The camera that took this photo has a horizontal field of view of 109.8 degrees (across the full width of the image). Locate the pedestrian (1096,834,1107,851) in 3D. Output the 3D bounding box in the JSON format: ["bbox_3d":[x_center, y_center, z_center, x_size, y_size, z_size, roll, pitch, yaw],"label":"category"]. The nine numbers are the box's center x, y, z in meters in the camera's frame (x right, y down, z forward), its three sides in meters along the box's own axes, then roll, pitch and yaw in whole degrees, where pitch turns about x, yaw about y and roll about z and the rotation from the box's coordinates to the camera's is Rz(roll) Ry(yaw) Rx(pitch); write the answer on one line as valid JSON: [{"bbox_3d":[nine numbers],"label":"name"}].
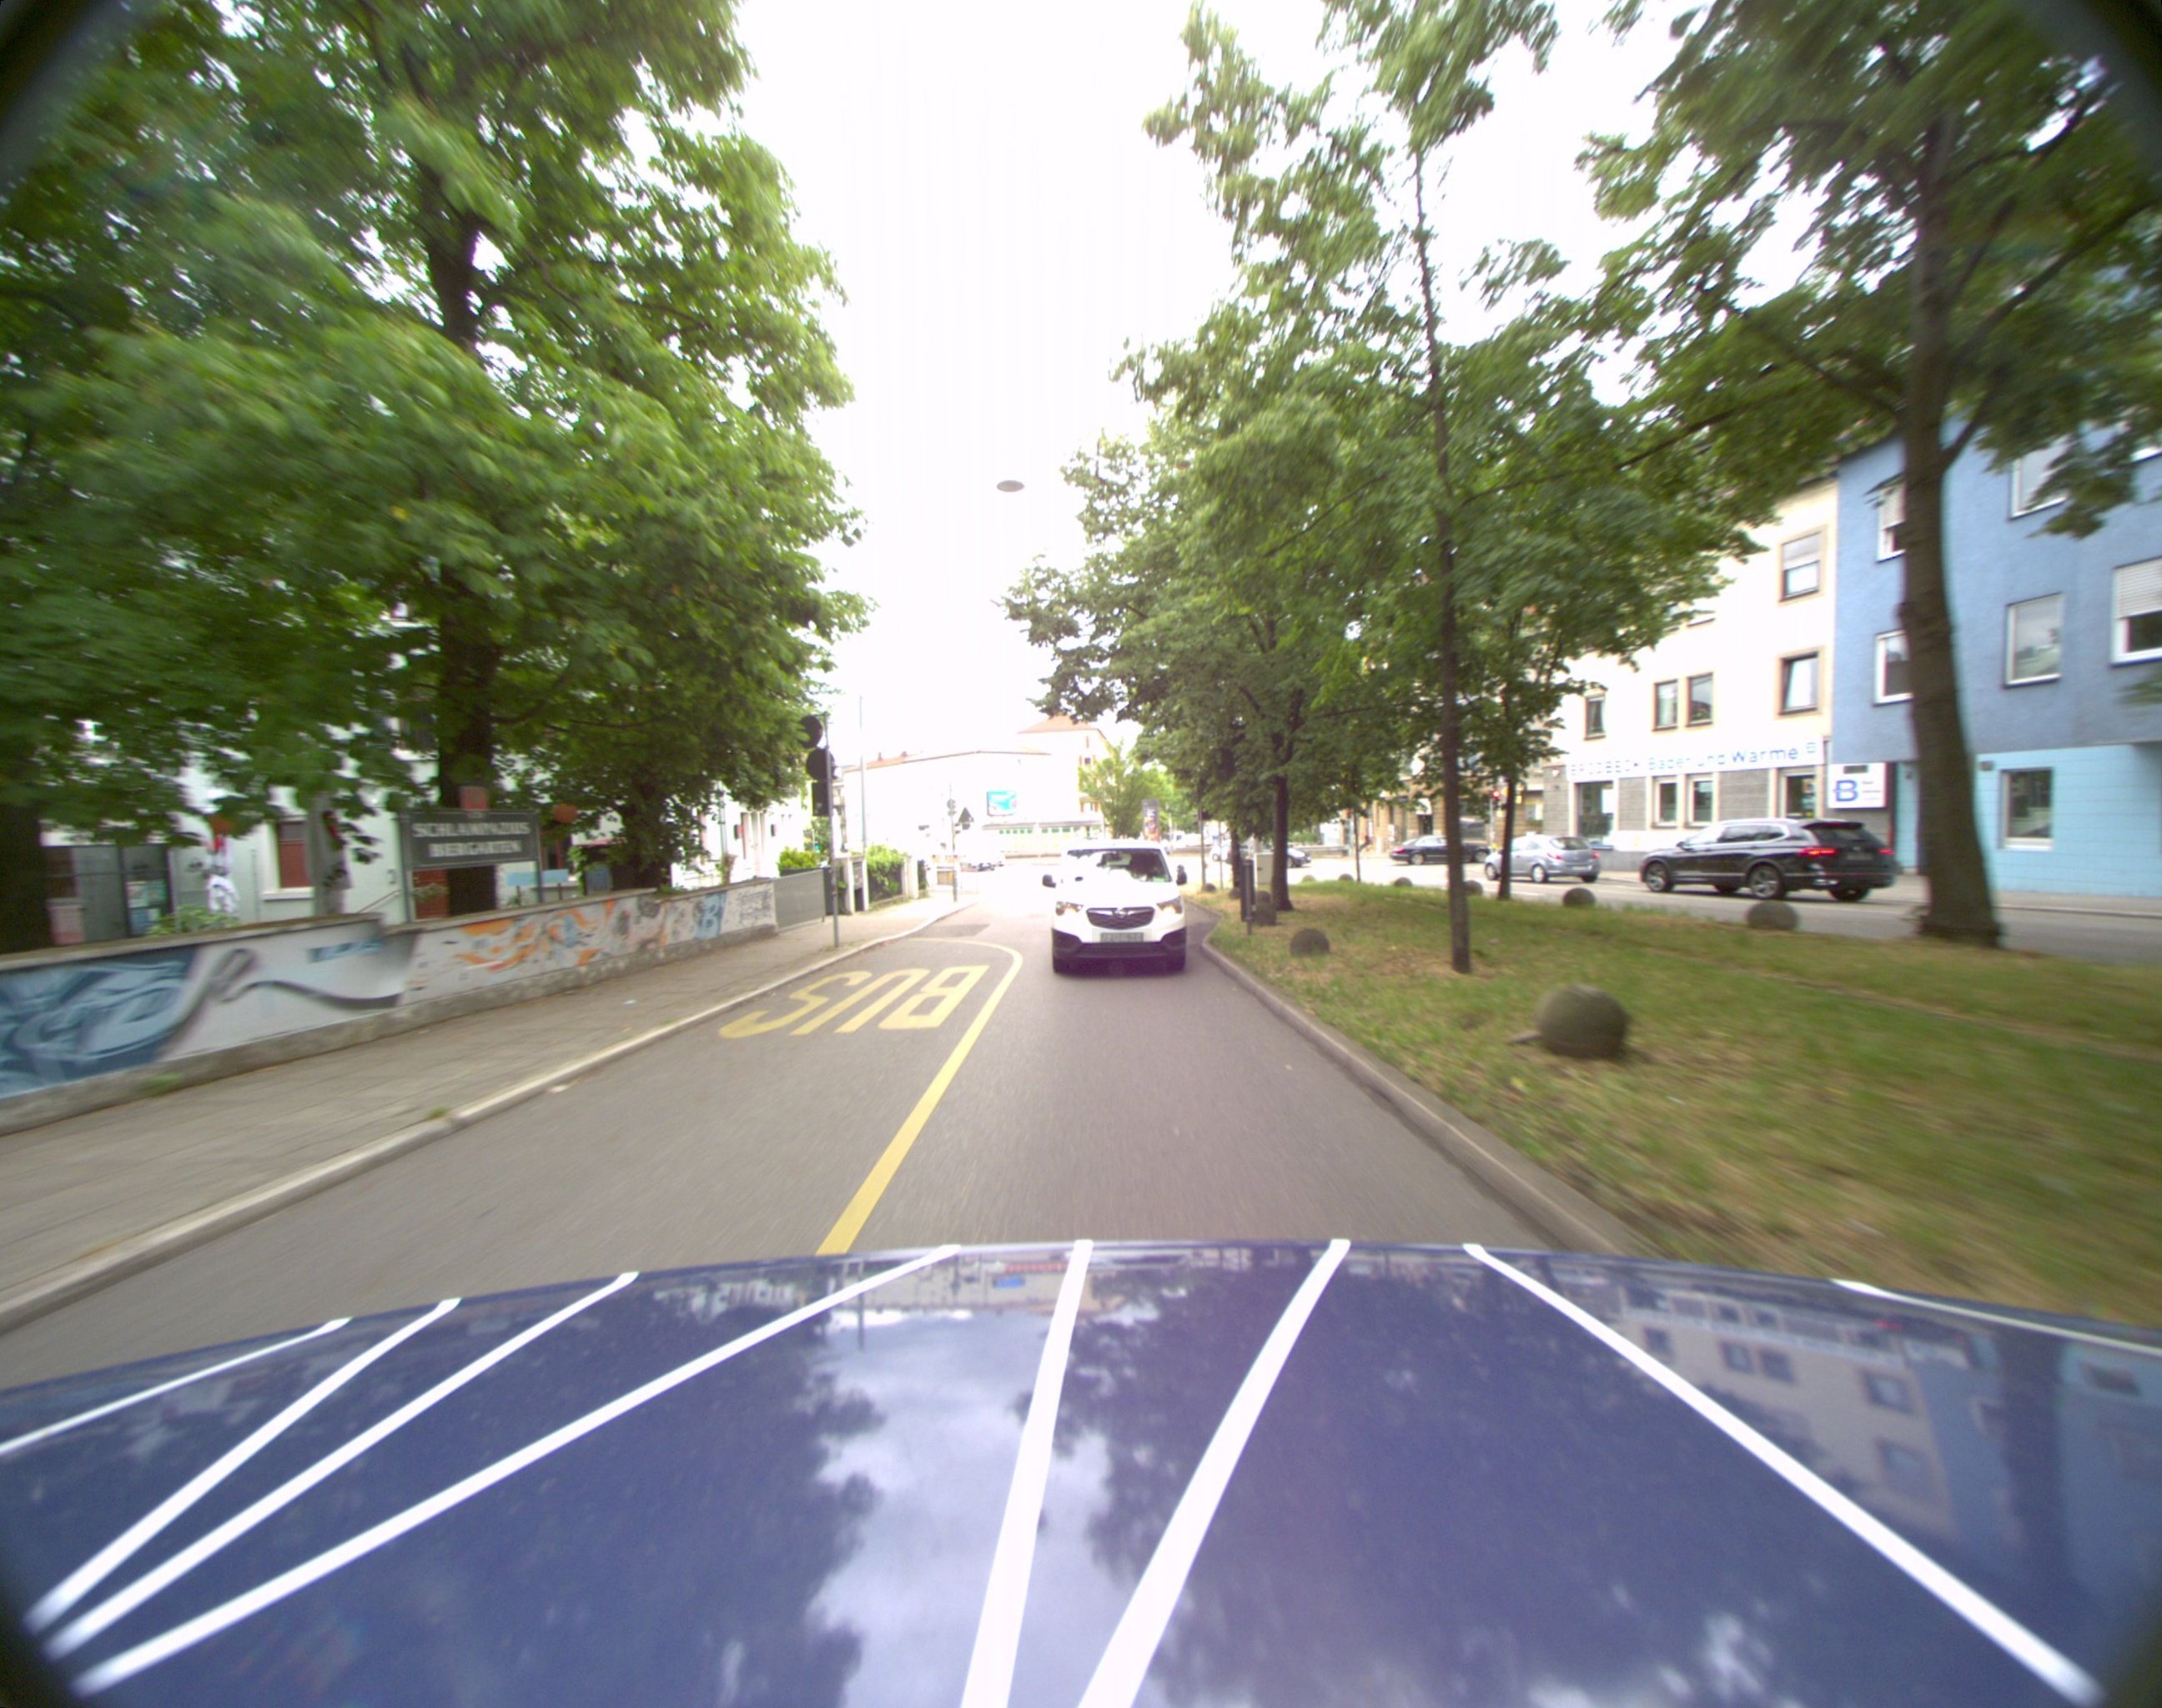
[{"bbox_3d":[1.989,-1.105,74.229,0.773,1.610,0.648,-6,4,-38],"label":"pedestrian"}]

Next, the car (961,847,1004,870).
[{"bbox_3d":[-7.416,0.338,56.719,2.042,1.541,4.028,-3,0,-24],"label":"car"}]

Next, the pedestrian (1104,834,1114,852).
[{"bbox_3d":[2.649,-1.042,72.016,0.607,1.610,0.553,-5,4,-35],"label":"pedestrian"}]

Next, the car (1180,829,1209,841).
[{"bbox_3d":[17.849,-2.976,119.293,3.937,1.695,1.889,-4,3,-23],"label":"car"}]

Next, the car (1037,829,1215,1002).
[{"bbox_3d":[0.588,0.717,10.652,1.857,1.798,4.731,-3,-1,2],"label":"car"}]

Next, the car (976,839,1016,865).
[{"bbox_3d":[-7.257,-0.175,64.261,2.002,2.003,4.260,-5,3,-25],"label":"car"}]

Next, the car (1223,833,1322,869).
[{"bbox_3d":[10.244,-0.139,40.806,4.716,1.605,1.862,-3,2,35],"label":"car"}]

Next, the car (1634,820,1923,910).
[{"bbox_3d":[14.503,0.139,16.279,1.820,1.627,4.677,-1,2,-1],"label":"car"}]

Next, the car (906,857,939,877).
[{"bbox_3d":[-14.132,1.162,67.529,1.956,1.541,4.027,-3,0,-25],"label":"car"}]

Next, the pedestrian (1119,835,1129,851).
[{"bbox_3d":[4.628,-1.186,81.564,0.867,1.610,0.919,-3,3,13],"label":"pedestrian"}]

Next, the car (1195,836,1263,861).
[{"bbox_3d":[9.535,-0.334,49.174,1.799,1.422,3.951,-6,4,-43],"label":"car"}]

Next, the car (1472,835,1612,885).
[{"bbox_3d":[14.385,0.163,24.033,1.673,1.398,4.293,-2,0,-2],"label":"car"}]

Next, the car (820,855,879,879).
[{"bbox_3d":[-16.969,0.949,55.696,3.891,1.471,1.905,-3,1,-25],"label":"car"}]

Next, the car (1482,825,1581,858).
[{"bbox_3d":[23.373,-0.679,39.541,4.048,1.465,1.652,-3,3,10],"label":"car"}]

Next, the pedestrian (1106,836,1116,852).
[{"bbox_3d":[3.160,-1.014,79.595,0.867,1.610,0.919,-3,3,13],"label":"pedestrian"}]

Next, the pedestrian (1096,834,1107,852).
[{"bbox_3d":[1.966,-1.034,72.690,0.770,1.610,0.651,-1,4,32],"label":"pedestrian"}]

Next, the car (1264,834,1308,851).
[{"bbox_3d":[21.434,-1.161,79.561,3.922,1.590,1.896,-1,4,45],"label":"car"}]

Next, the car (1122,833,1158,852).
[{"bbox_3d":[5.926,-1.201,75.518,2.207,1.563,4.482,-2,3,22],"label":"car"}]

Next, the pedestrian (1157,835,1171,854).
[{"bbox_3d":[6.984,-0.796,63.743,0.707,1.574,0.801,-5,4,-34],"label":"pedestrian"}]

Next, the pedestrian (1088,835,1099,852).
[{"bbox_3d":[1.177,-1.015,73.261,0.773,1.610,0.648,-6,4,-42],"label":"pedestrian"}]

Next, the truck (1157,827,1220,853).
[{"bbox_3d":[11.730,-1.521,82.528,6.466,2.707,2.766,-2,1,-34],"label":"truck"}]

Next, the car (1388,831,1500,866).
[{"bbox_3d":[17.830,-0.279,37.561,4.730,1.412,1.843,-3,3,15],"label":"car"}]
